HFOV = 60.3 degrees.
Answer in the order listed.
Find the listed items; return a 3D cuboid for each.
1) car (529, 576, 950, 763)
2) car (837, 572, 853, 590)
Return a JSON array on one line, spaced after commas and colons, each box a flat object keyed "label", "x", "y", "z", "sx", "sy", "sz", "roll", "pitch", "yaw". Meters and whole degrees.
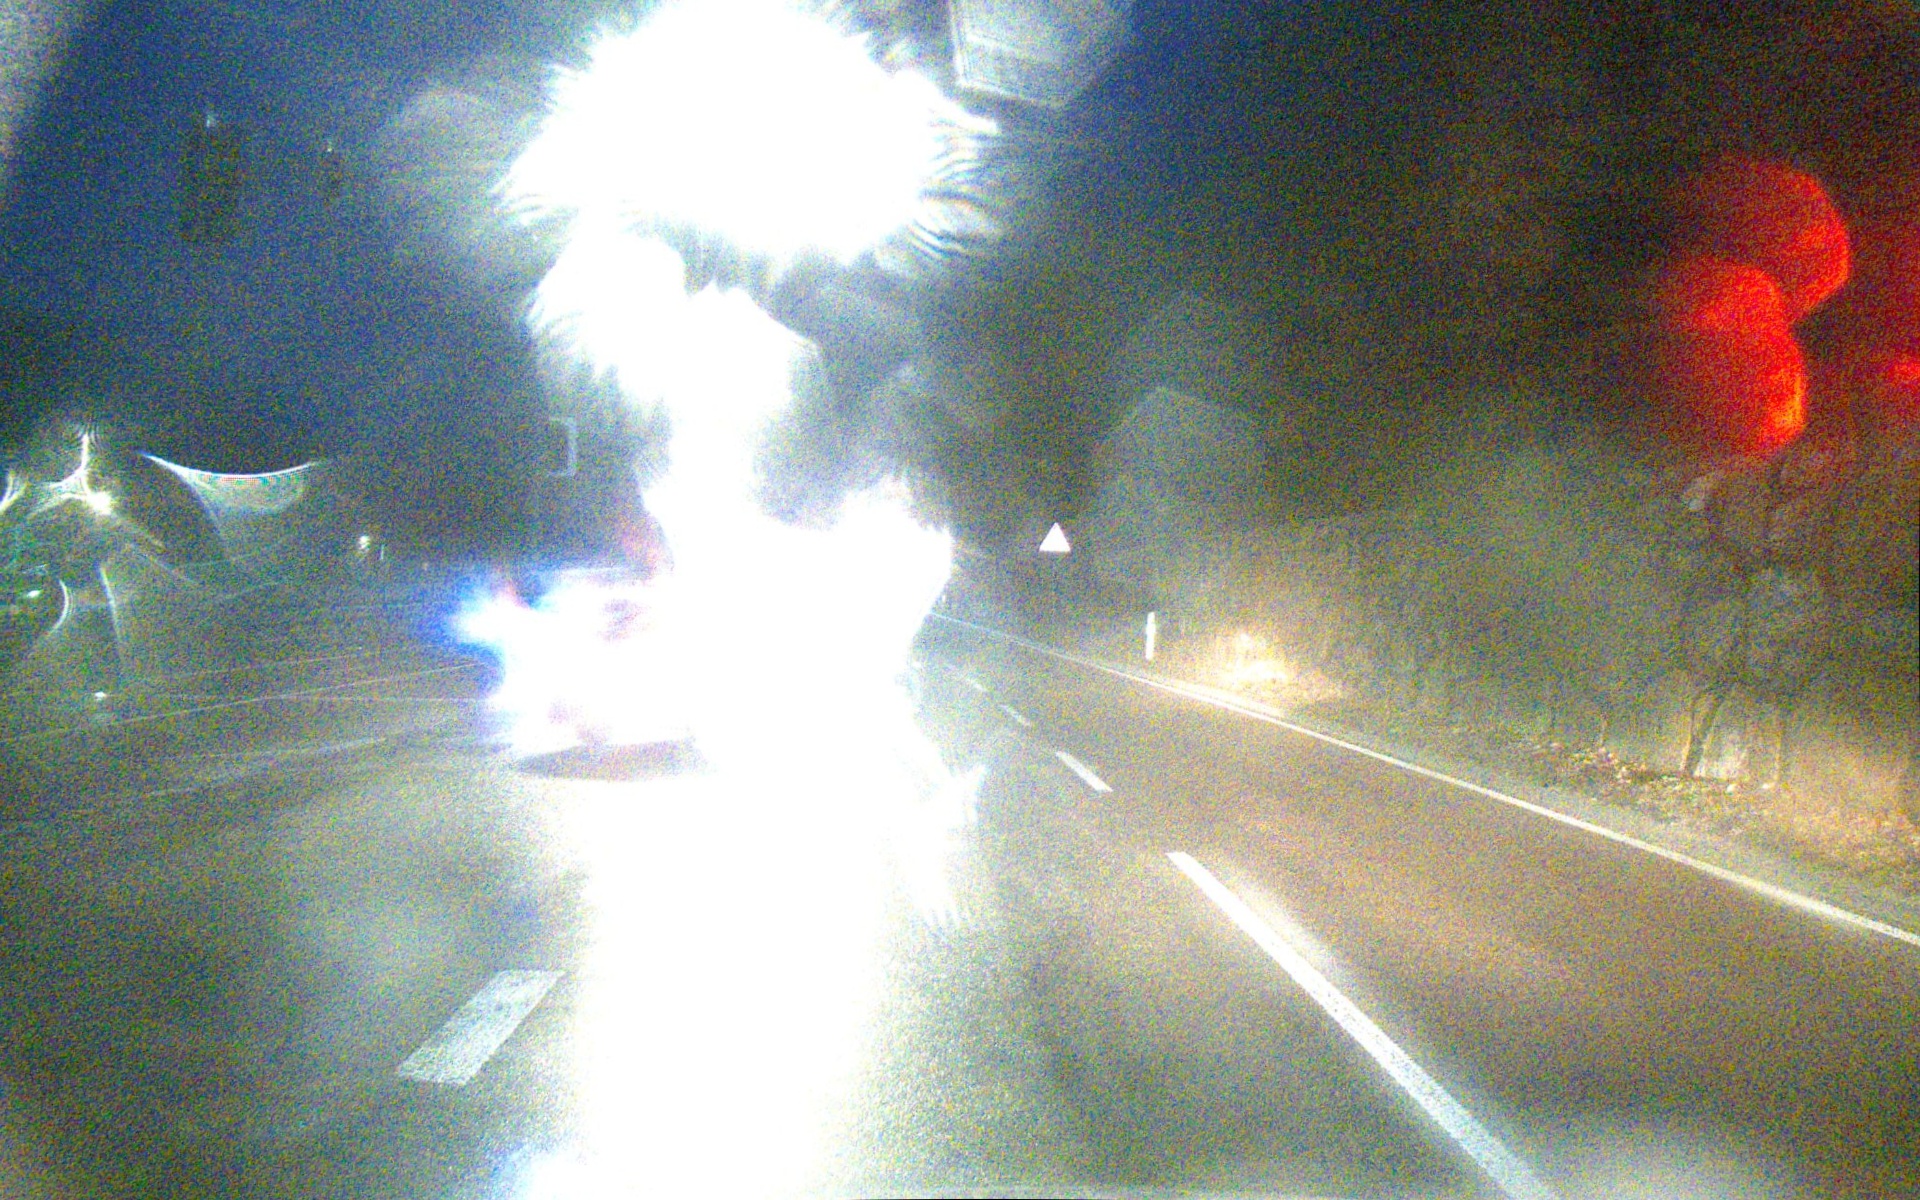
[{"label": "car", "x": -1.977, "y": 0.590, "z": 16.083, "sx": 1.486, "sy": 1.545, "sz": 4.358, "roll": 1, "pitch": 0, "yaw": 35}, {"label": "car", "x": -13.574, "y": -2.242, "z": 195.713, "sx": 1.755, "sy": 2.057, "sz": 4.577, "roll": 1, "pitch": 0, "yaw": -3}]
